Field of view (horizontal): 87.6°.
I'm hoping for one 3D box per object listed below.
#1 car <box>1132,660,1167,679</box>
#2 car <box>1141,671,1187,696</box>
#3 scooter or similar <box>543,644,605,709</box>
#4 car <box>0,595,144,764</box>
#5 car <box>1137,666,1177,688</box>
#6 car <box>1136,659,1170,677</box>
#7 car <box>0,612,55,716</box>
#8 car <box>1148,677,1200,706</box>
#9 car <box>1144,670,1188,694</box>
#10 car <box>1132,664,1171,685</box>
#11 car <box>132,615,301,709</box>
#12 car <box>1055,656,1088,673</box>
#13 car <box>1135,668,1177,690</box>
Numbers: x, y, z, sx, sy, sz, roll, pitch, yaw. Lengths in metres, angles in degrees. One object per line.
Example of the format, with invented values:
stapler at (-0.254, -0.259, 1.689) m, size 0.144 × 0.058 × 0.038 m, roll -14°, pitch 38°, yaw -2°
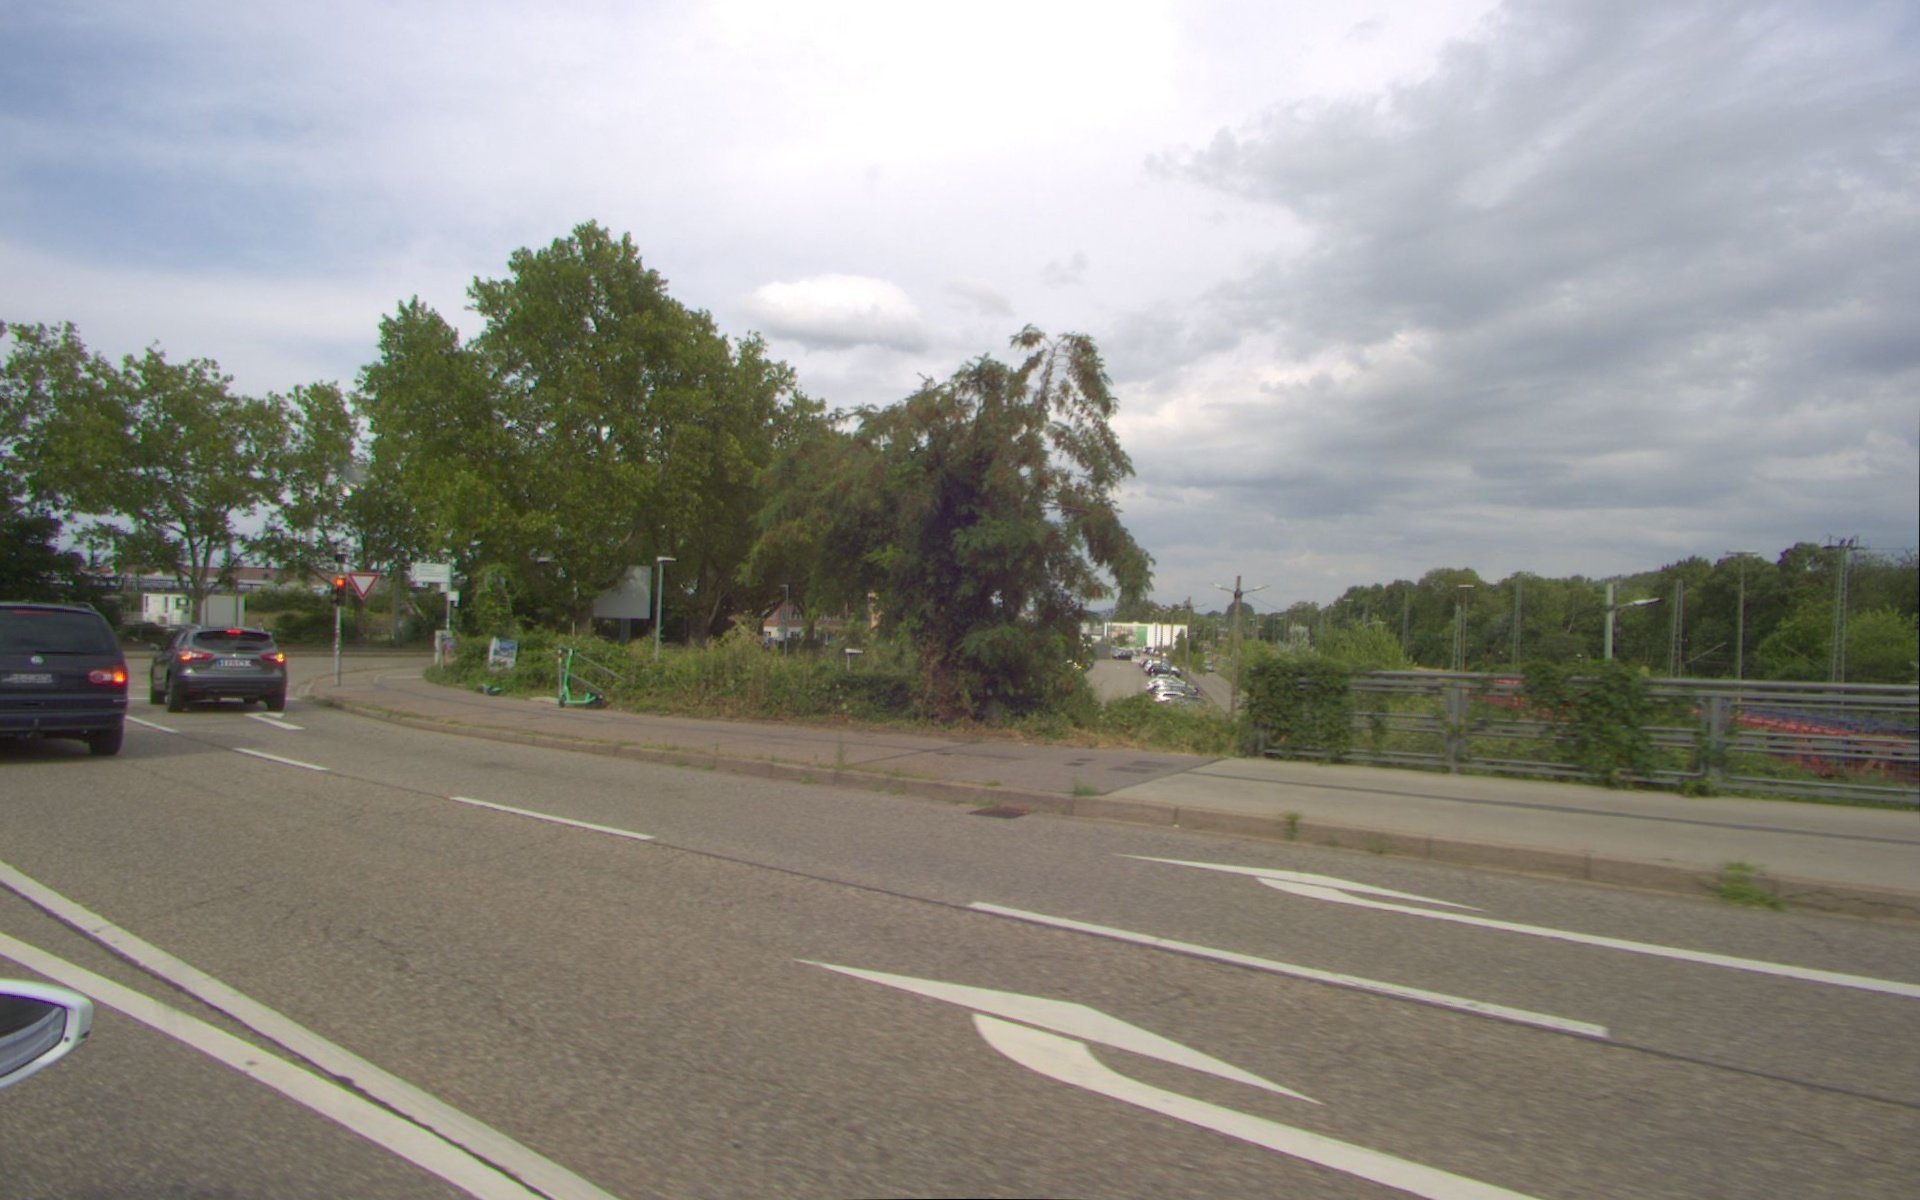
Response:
car at (22.900, 8.382, 121.043) m, size 3.922 × 2.040 × 1.763 m, roll 2°, pitch -1°, yaw 6°
car at (18.704, 7.659, 91.823) m, size 3.922 × 2.040 × 1.763 m, roll 2°, pitch -1°, yaw 6°
scooter or similar at (-7.457, 1.465, 19.357) m, size 1.261 × 1.198 × 0.396 m, roll 0°, pitch -1°, yaw 29°
car at (-11.362, 0.864, 11.859) m, size 4.087 × 1.746 × 1.745 m, roll -1°, pitch -4°, yaw 39°
car at (20.293, 7.942, 103.344) m, size 3.922 × 2.040 × 1.763 m, roll 2°, pitch -1°, yaw 6°
car at (23.962, 8.485, 124.590) m, size 3.922 × 2.040 × 1.763 m, roll 2°, pitch -1°, yaw 6°
car at (-16.478, 1.004, 16.563) m, size 4.108 × 1.604 × 1.684 m, roll -1°, pitch -4°, yaw 41°
car at (17.258, 7.392, 80.901) m, size 3.922 × 2.040 × 1.763 m, roll 2°, pitch -1°, yaw 6°
car at (19.563, 7.753, 95.193) m, size 3.922 × 2.040 × 1.763 m, roll 2°, pitch -1°, yaw 6°
car at (20.848, 8.075, 109.045) m, size 3.922 × 2.040 × 1.763 m, roll 2°, pitch -1°, yaw 6°
car at (-14.701, 1.178, 19.736) m, size 4.089 × 1.663 × 1.744 m, roll -1°, pitch -4°, yaw 40°
car at (14.401, 8.306, 129.216) m, size 3.924 × 2.040 × 1.762 m, roll 1°, pitch -1°, yaw 12°
car at (19.463, 7.839, 99.515) m, size 3.922 × 2.040 × 1.763 m, roll 2°, pitch -1°, yaw 6°
